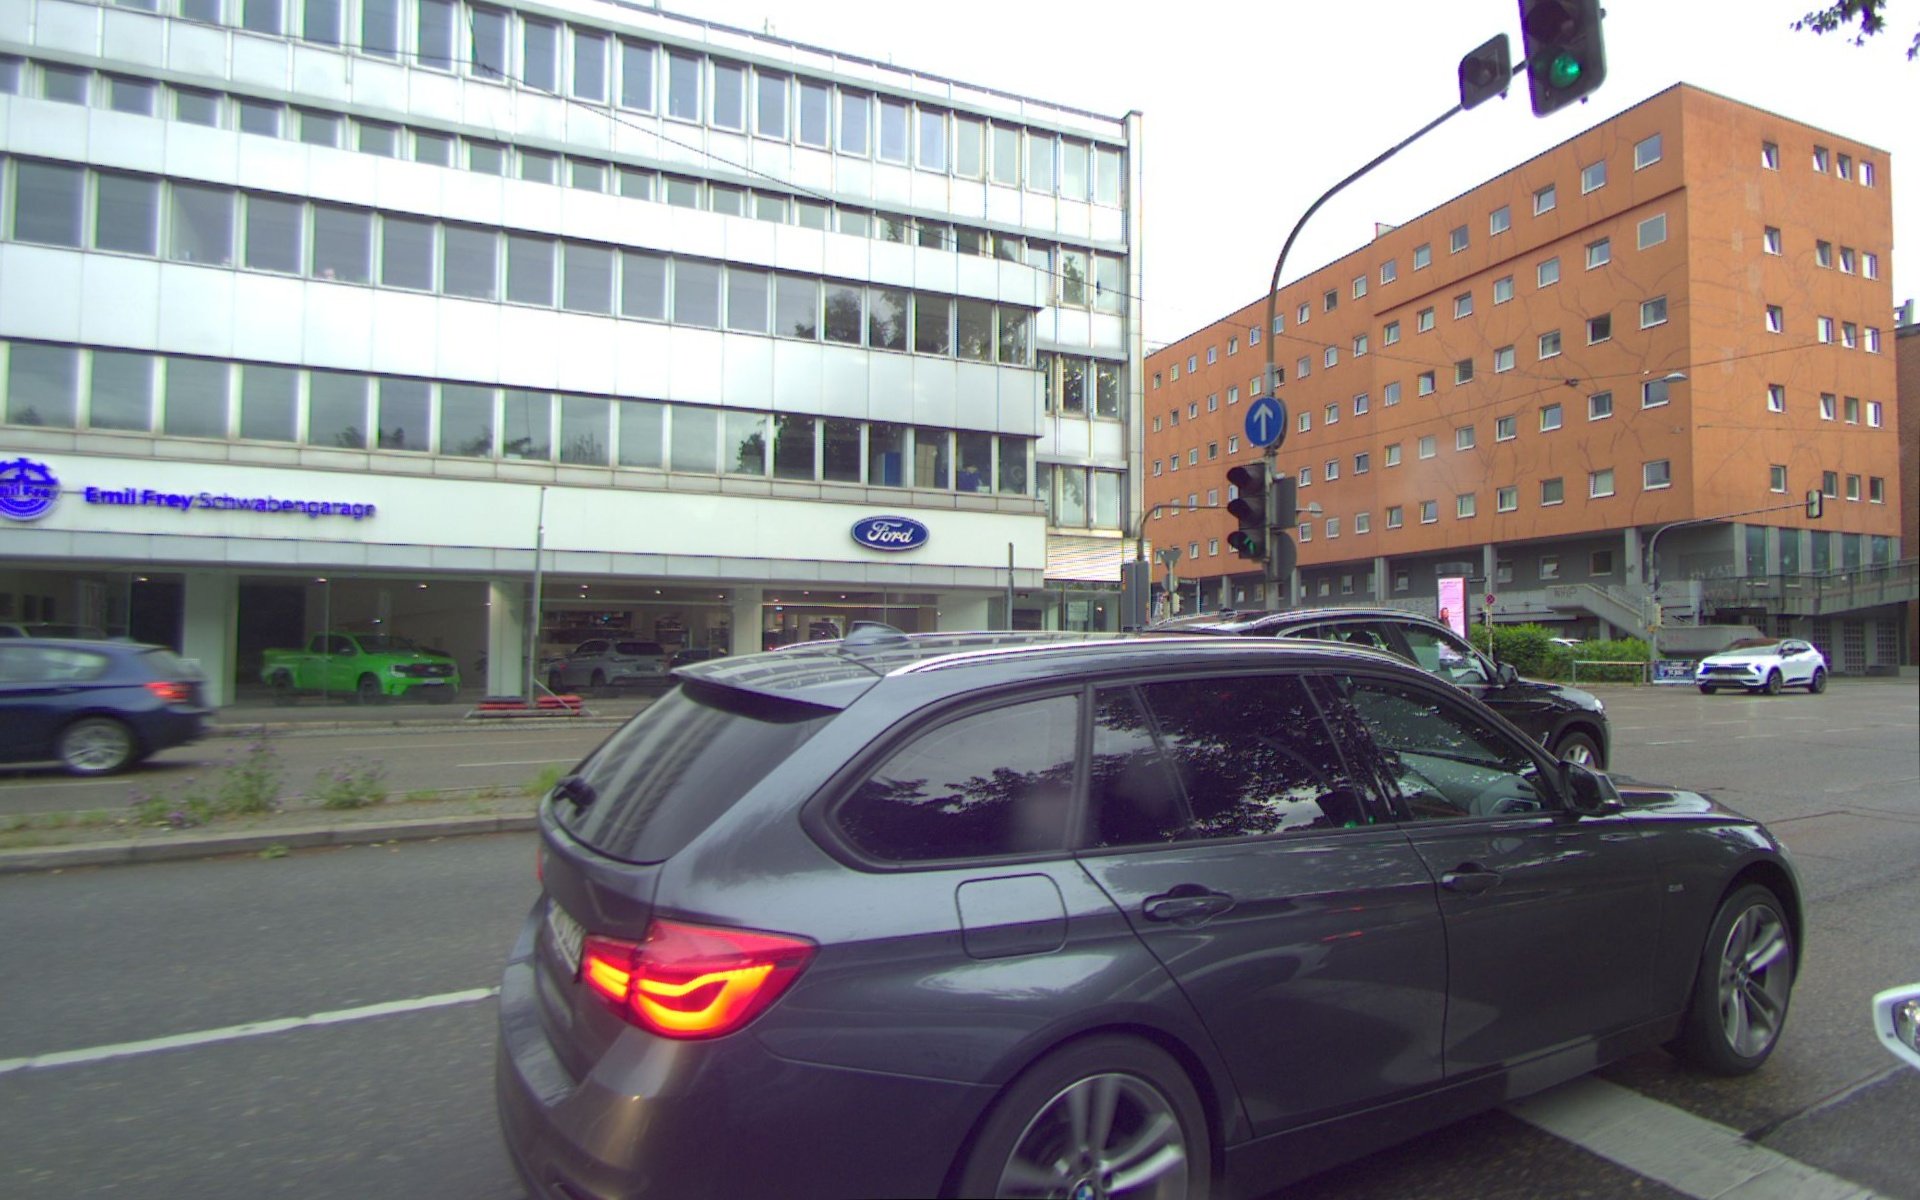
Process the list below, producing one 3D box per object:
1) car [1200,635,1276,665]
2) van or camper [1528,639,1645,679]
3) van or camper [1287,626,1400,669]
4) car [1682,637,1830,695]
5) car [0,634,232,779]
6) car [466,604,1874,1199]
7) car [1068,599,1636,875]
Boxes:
[{"bbox_3d":[15.997,2.889,57.771,4.028,1.633,1.706,2,0,-23],"label":"car"},{"bbox_3d":[27.480,2.549,44.194,1.887,1.648,3.978,1,-2,-23],"label":"van or camper"},{"bbox_3d":[19.475,2.406,50.995,5.376,2.004,2.120,2,0,-24],"label":"van or camper"},{"bbox_3d":[23.813,1.933,30.018,4.400,1.631,1.882,2,-2,-28],"label":"car"},{"bbox_3d":[-10.368,1.093,10.560,4.164,1.437,1.679,2,-3,-29],"label":"car"},{"bbox_3d":[0.899,0.830,3.280,4.423,1.477,1.769,2,-3,-29],"label":"car"},{"bbox_3d":[3.194,0.900,8.003,4.389,1.678,1.802,2,0,-28],"label":"car"}]
